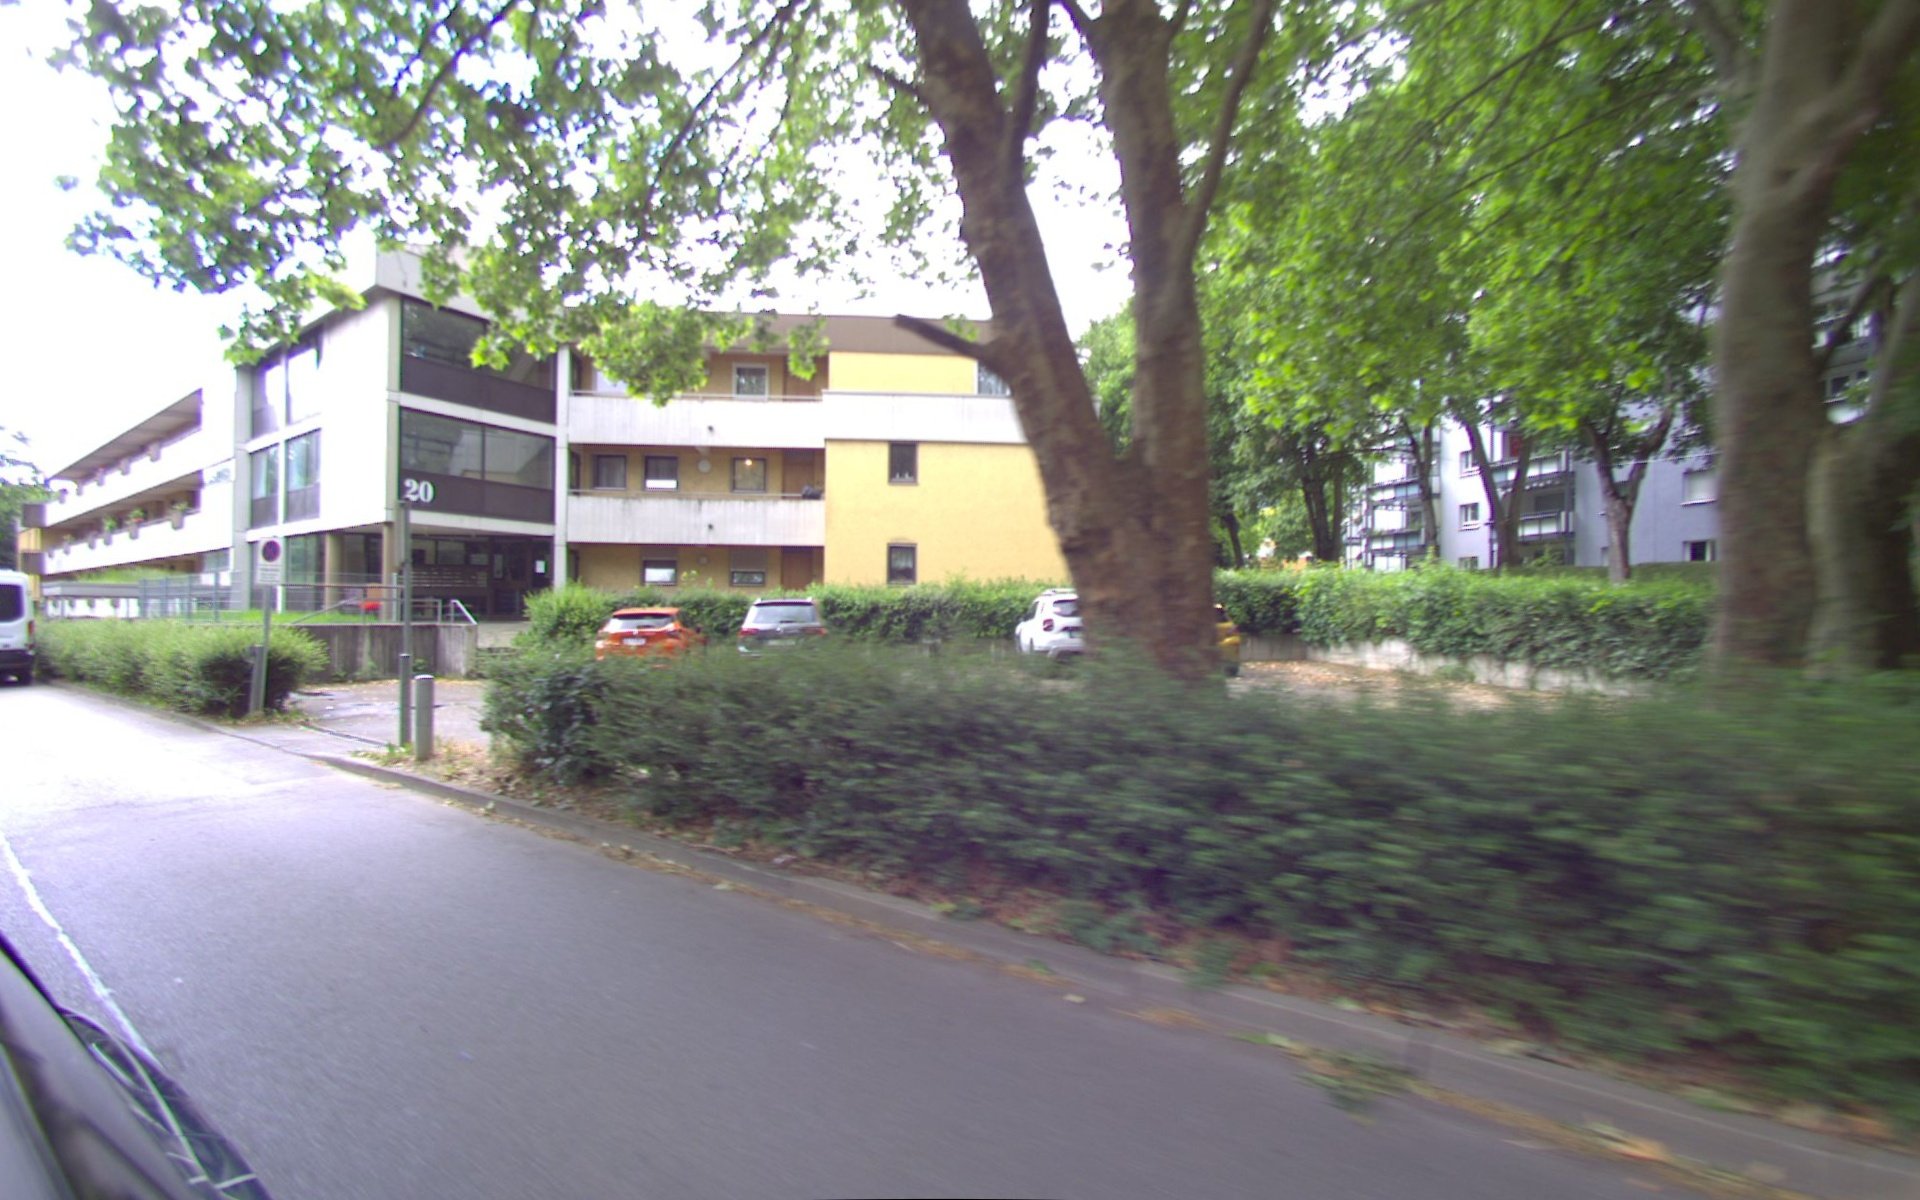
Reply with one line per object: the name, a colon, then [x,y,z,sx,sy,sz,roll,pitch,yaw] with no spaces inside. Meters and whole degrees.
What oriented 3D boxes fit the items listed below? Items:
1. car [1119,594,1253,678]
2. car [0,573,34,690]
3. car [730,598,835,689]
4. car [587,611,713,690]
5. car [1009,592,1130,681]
car: [4.716,0.712,21.712,1.723,1.623,4.003,0,0,-4]
car: [-23.106,0.737,23.331,6.277,2.494,2.109,-2,-1,43]
car: [-3.467,0.798,20.325,1.797,1.623,4.005,0,0,-6]
car: [-6.241,0.955,20.783,1.722,1.441,4.005,0,0,-6]
car: [2.150,0.695,21.012,1.780,1.661,4.119,0,0,-4]
